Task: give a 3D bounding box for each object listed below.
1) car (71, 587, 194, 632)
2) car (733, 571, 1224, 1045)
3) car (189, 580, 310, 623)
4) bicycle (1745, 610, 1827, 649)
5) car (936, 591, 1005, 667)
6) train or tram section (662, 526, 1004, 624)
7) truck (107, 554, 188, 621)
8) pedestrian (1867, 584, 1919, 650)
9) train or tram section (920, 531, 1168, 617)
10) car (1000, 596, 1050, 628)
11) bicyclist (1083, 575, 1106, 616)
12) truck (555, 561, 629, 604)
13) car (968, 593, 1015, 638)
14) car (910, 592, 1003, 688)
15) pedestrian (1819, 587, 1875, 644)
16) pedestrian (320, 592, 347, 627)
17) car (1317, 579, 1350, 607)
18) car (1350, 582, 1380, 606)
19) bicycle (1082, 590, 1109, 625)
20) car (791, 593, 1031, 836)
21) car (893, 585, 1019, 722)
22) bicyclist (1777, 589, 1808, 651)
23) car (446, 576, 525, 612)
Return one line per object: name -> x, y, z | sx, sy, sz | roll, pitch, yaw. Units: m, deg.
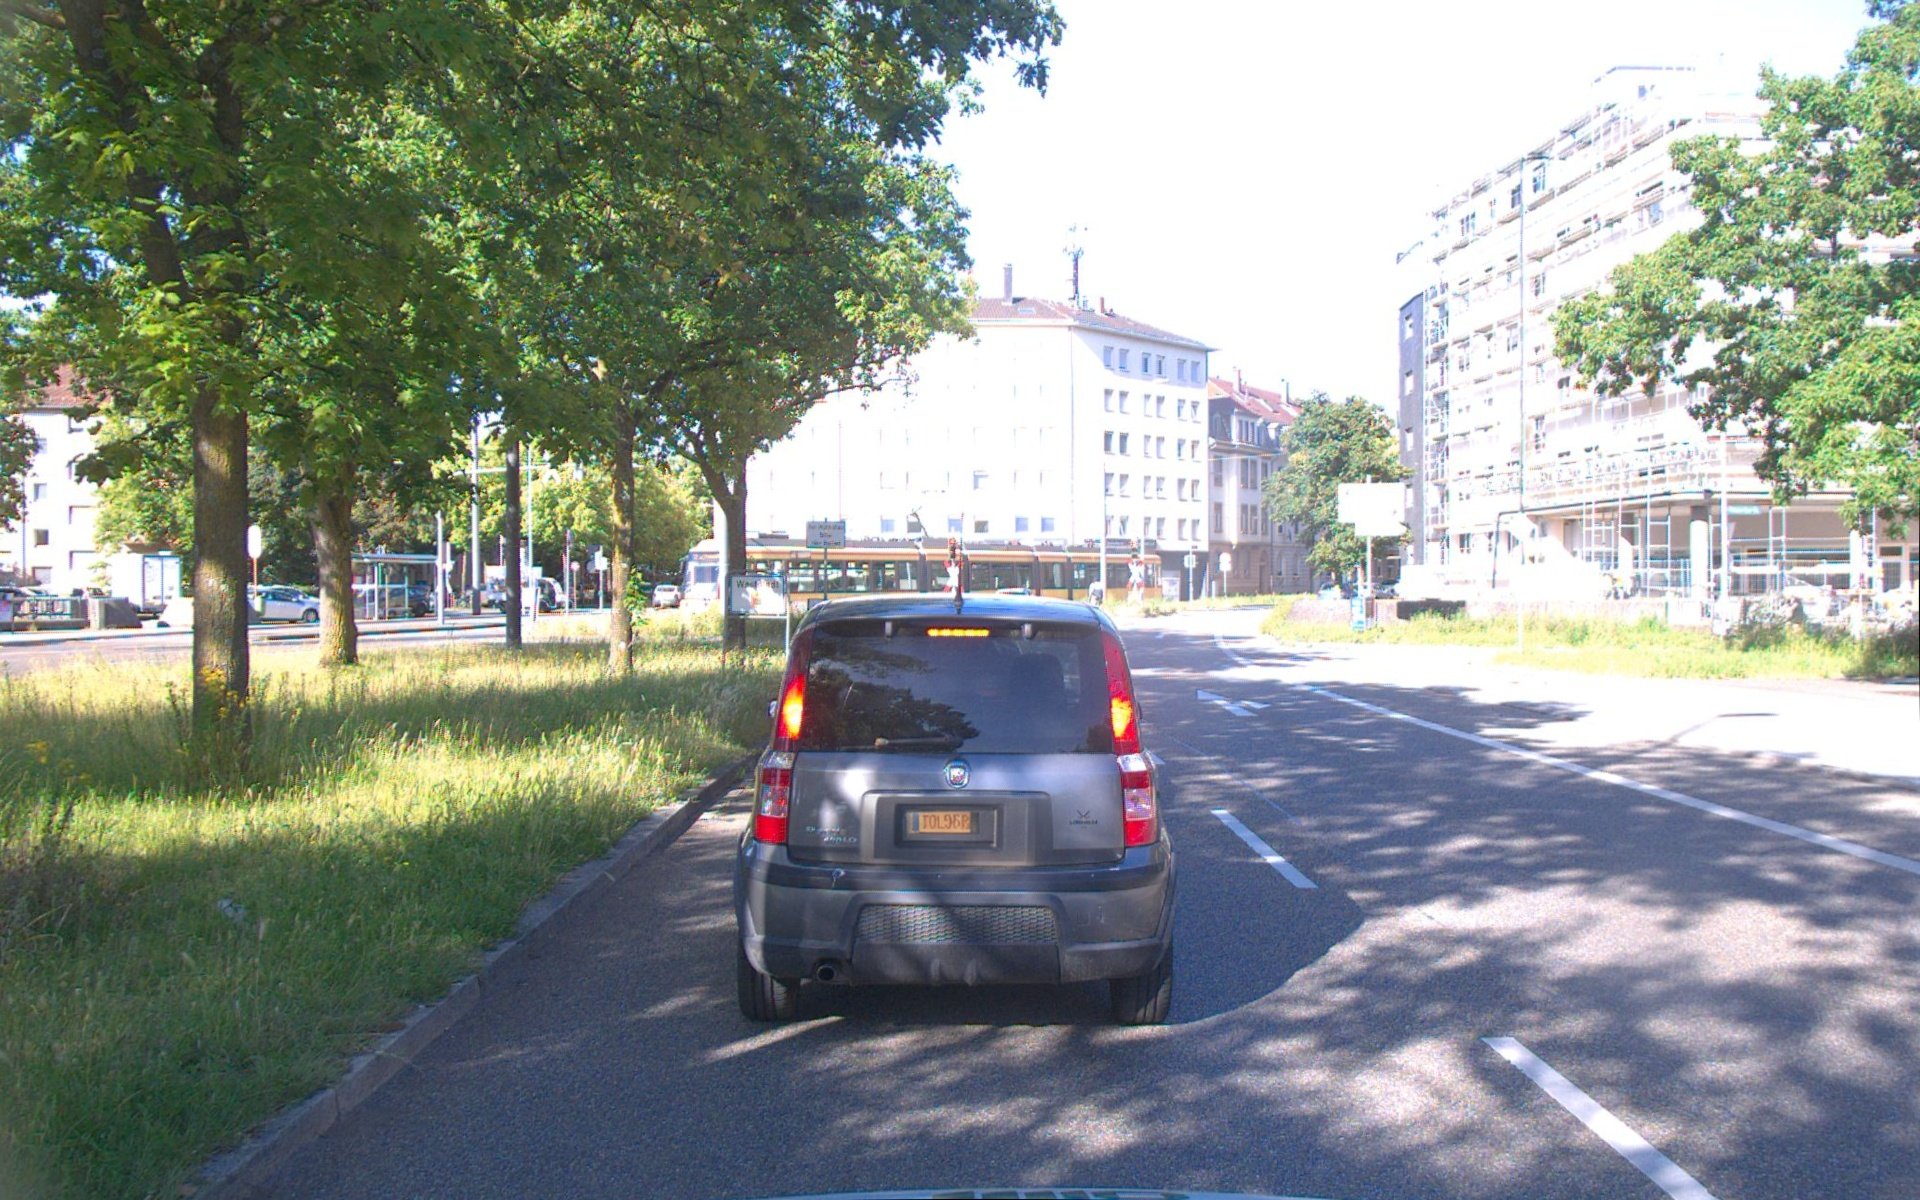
car -> -33.041, 0.340, 66.098 | 1.961, 1.713, 3.983 | 0, 1, 38
car -> 0.035, 0.656, 7.408 | 1.595, 1.534, 3.999 | 0, 1, -1
car -> -29.953, 0.044, 69.778 | 1.961, 1.713, 4.302 | 0, 1, 38
bicycle -> 20.659, 0.730, 41.387 | 1.751, 0.961, 0.560 | 0, 0, 14
car -> 0.180, 0.553, 33.857 | 1.328, 1.475, 3.265 | 0, 0, -1
train or tram section -> -4.543, -1.024, 68.816 | 3.237, 3.574, 19.332 | 0, 1, 33
truck -> -35.742, -0.558, 72.684 | 3.932, 2.854, 1.987 | 0, 1, 44
pedestrian -> 24.418, 0.430, 43.153 | 0.873, 1.682, 0.984 | 0, 0, -14
train or tram section -> 4.873, -1.292, 84.130 | 3.235, 3.836, 20.763 | 0, 1, 31
car -> 2.287, 0.400, 57.698 | 1.118, 1.083, 2.723 | 0, 1, 17
bicyclist -> 4.920, -0.162, 60.336 | 0.726, 1.463, 0.845 | 1, 0, -2
truck -> -28.359, -1.356, 127.363 | 5.371, 3.224, 2.341 | 0, 0, 28
car -> 0.921, 0.441, 49.603 | 1.328, 1.304, 2.875 | 0, 1, -1
car -> -0.077, 0.605, 27.285 | 1.434, 1.449, 3.381 | 0, 1, -1
pedestrian -> 23.087, 0.394, 43.065 | 0.877, 1.472, 0.962 | 0, 0, -15
pedestrian -> -29.284, 0.448, 77.316 | 0.904, 1.636, 0.794 | 0, 0, 38
car -> 20.506, -0.391, 90.710 | 1.646, 1.475, 3.574 | 0, 1, 15
car -> 23.116, -0.335, 94.376 | 1.495, 1.337, 3.289 | 0, 1, 17
bicycle -> 4.937, 0.273, 60.479 | 0.694, 1.219, 2.519 | 1, 0, -2
car -> -0.315, 0.677, 11.624 | 1.434, 1.425, 3.393 | 0, 1, -1
car -> -0.069, 0.600, 20.669 | 1.434, 1.534, 3.504 | 0, 1, -1
bicyclist -> 20.803, 0.494, 41.329 | 0.571, 1.519, 0.551 | 0, 0, 14
car -> -27.968, -0.362, 97.548 | 4.093, 2.049, 1.930 | 0, 0, -3
